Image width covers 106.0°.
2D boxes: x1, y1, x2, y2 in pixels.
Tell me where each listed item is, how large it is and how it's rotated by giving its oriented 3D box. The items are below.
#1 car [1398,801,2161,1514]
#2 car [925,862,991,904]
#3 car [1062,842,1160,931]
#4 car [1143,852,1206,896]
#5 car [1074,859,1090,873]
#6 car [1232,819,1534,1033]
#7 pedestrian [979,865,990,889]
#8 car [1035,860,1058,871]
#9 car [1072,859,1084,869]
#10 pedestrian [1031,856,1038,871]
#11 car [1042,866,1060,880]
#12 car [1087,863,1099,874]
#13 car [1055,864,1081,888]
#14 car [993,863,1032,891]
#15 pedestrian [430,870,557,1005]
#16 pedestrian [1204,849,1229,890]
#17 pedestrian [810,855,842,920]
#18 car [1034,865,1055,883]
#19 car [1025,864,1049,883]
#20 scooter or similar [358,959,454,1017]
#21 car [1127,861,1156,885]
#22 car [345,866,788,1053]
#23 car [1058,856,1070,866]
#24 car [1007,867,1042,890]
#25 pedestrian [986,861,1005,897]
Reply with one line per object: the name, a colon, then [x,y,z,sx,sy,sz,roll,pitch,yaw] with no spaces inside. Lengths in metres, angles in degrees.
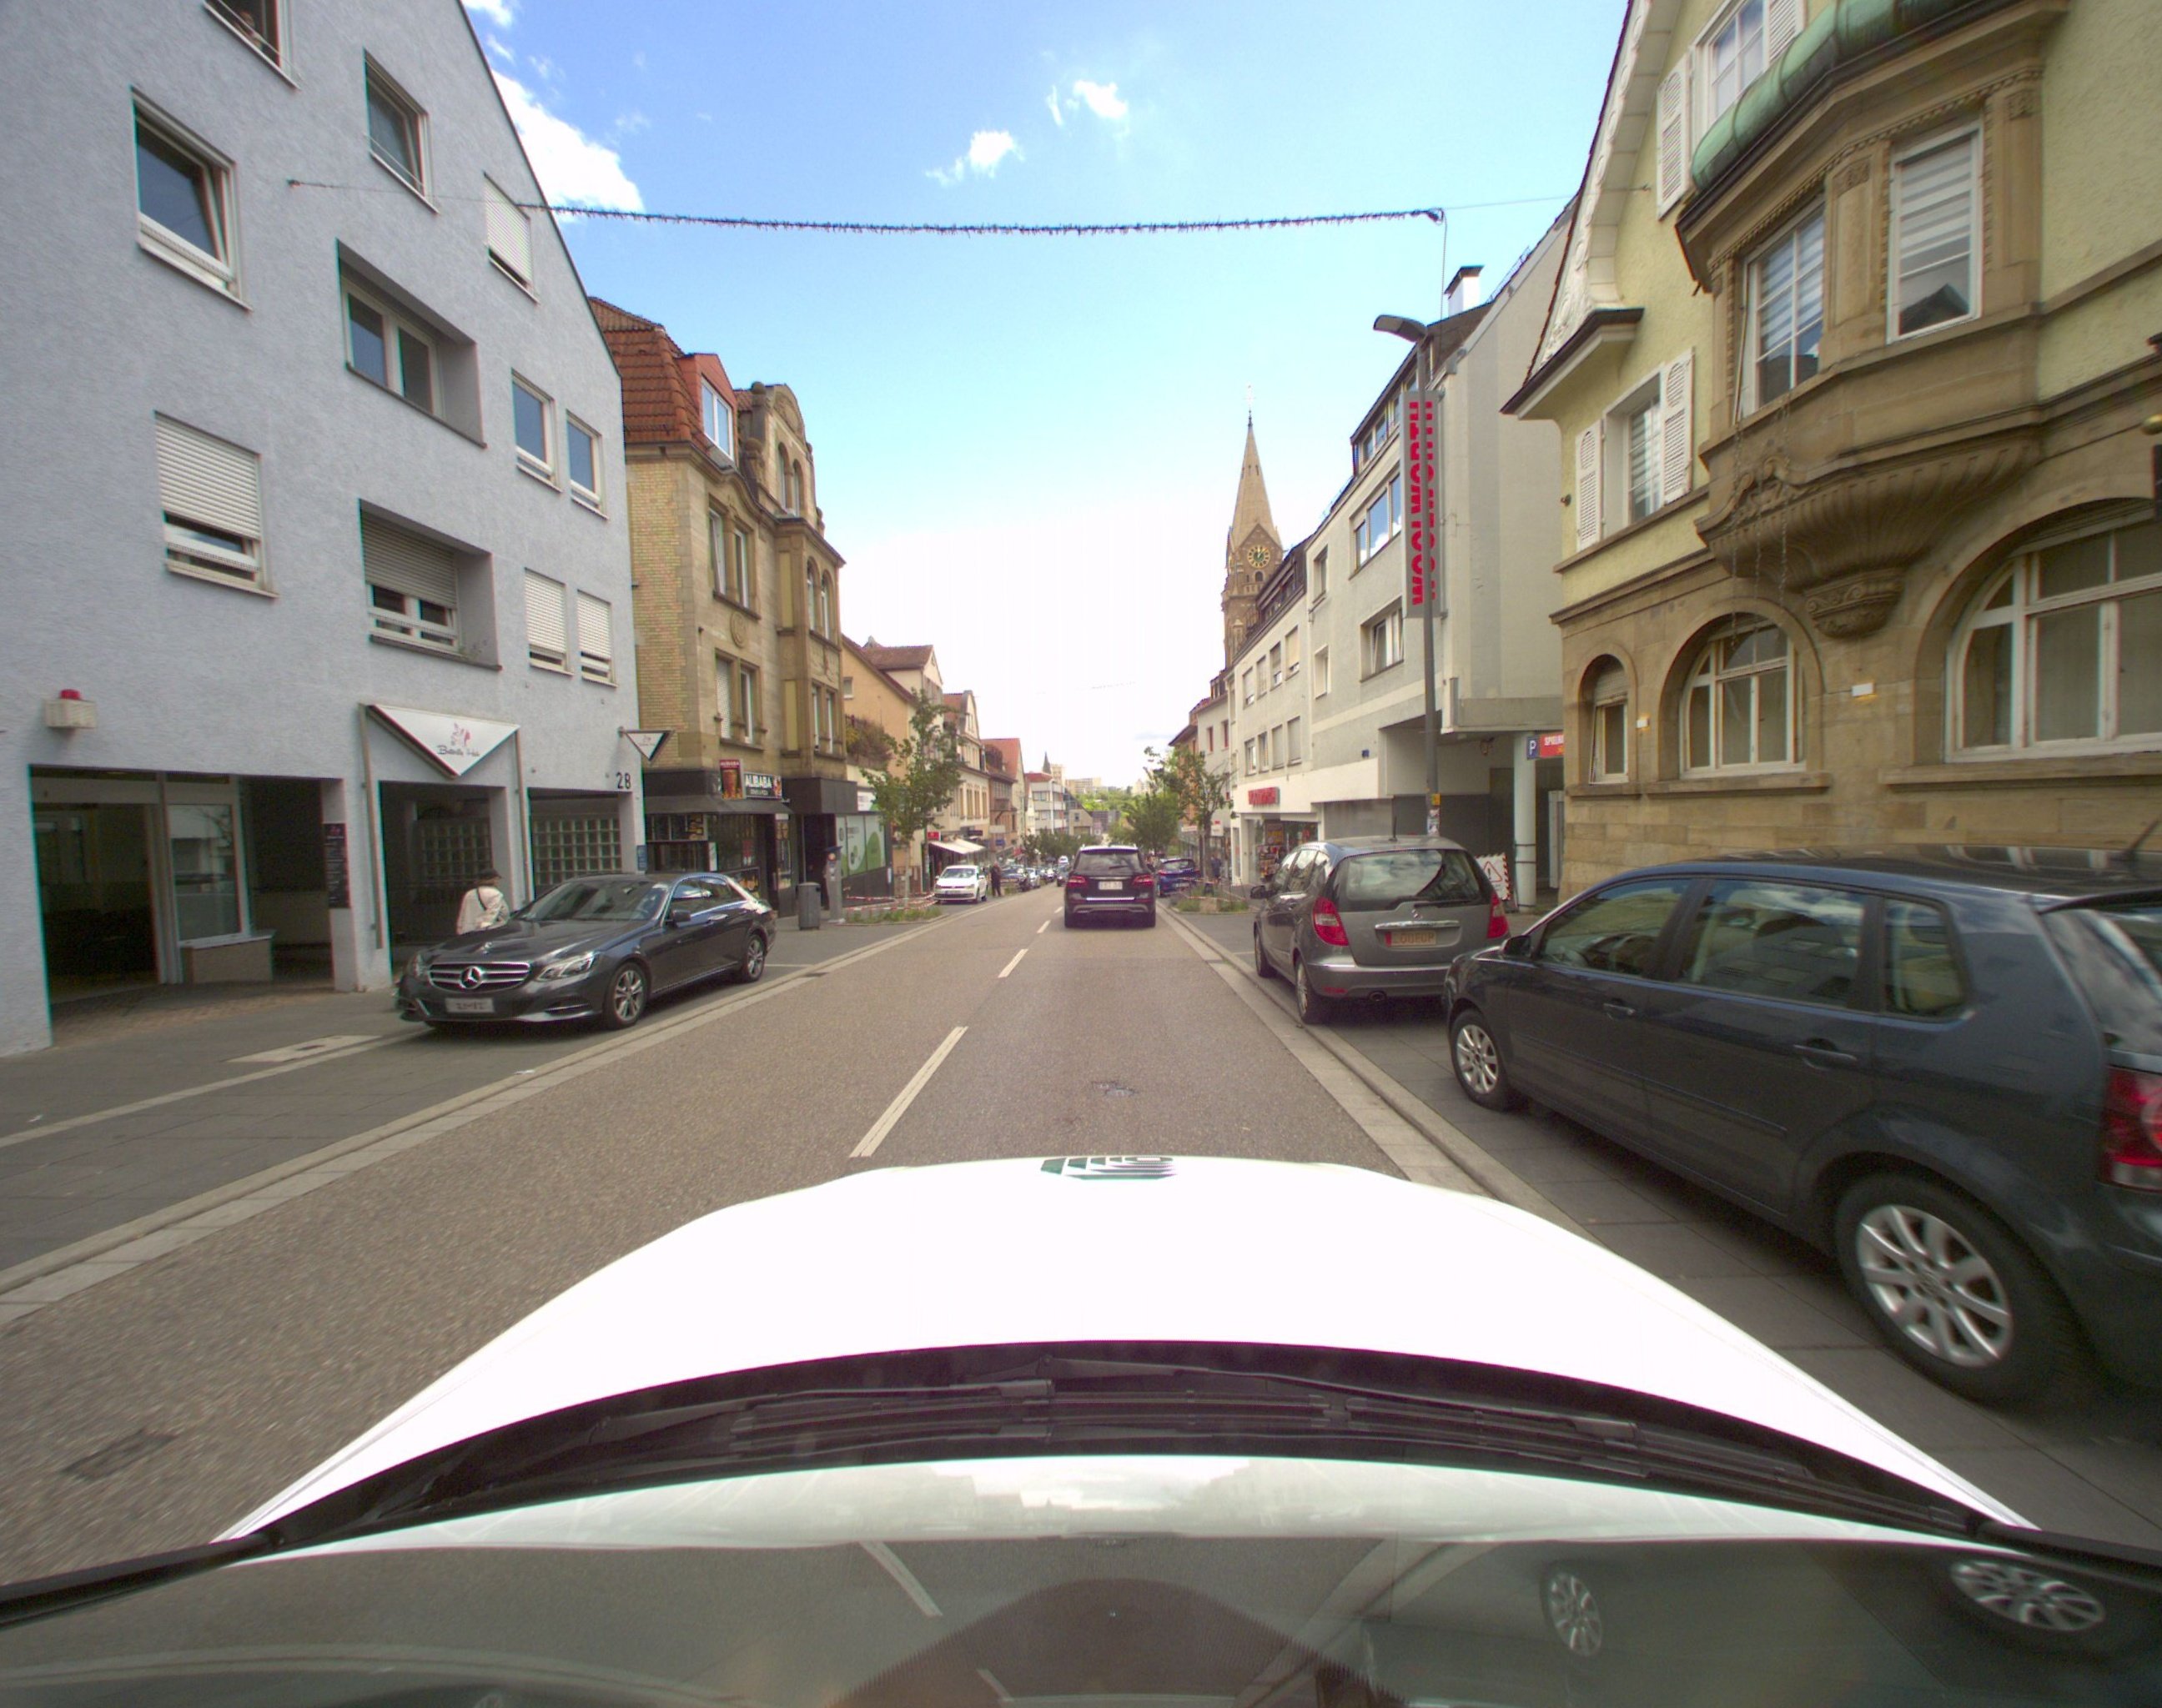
car: [3.102,0.615,3.624,1.743,1.508,3.872,-3,0,-1]
car: [-4.733,1.078,31.994,1.920,1.511,4.262,0,0,0]
car: [0.671,0.639,18.378,1.936,1.740,4.180,-1,0,2]
car: [3.612,0.800,32.056,1.745,1.498,3.795,-4,-2,-4]
car: [0.124,1.617,109.247,1.985,1.718,4.447,-2,0,0]
car: [2.745,0.575,8.366,1.741,1.608,3.802,-3,0,2]
pedestrian: [-6.449,1.511,54.486,0.545,1.576,0.863,-3,0,0]
car: [-6.165,2.005,145.645,3.978,1.750,1.998,-4,-1,-3]
car: [-0.470,1.603,135.248,1.919,1.628,4.263,0,0,1]
pedestrian: [-5.309,1.067,93.145,0.639,1.667,0.720,-1,-1,0]
car: [-3.482,2.163,94.272,1.920,1.497,4.262,0,0,0]
car: [1.978,2.368,133.360,1.759,1.617,4.033,-5,1,0]
car: [-0.981,1.676,62.021,1.814,1.618,4.133,-4,-1,-1]
car: [-4.091,1.365,49.144,1.920,1.621,4.639,0,-1,0]
pedestrian: [-6.676,0.920,9.301,0.823,1.463,0.810,0,-1,0]
pedestrian: [5.382,0.620,32.430,0.754,1.561,0.817,-3,-1,-2]
pedestrian: [-6.778,0.876,21.651,0.585,1.713,0.710,0,-1,1]
car: [-3.498,1.885,77.840,1.921,1.595,4.455,0,0,-2]
car: [-3.796,1.643,70.549,1.921,1.496,4.259,-2,0,-2]
scooter or similar: [-7.100,1.407,8.588,0.523,0.519,0.573,0,-1,0]
car: [4.337,1.361,59.087,1.742,1.465,4.074,-5,0,0]
car: [-5.190,0.925,9.262,1.920,1.492,4.842,0,0,0]
car: [-2.907,1.134,138.259,1.920,1.628,4.413,0,0,0]
car: [-3.895,1.670,56.704,1.919,1.430,4.264,-1,-1,2]
pedestrian: [-4.004,1.158,38.159,0.735,1.672,0.862,-1,-1,-2]
